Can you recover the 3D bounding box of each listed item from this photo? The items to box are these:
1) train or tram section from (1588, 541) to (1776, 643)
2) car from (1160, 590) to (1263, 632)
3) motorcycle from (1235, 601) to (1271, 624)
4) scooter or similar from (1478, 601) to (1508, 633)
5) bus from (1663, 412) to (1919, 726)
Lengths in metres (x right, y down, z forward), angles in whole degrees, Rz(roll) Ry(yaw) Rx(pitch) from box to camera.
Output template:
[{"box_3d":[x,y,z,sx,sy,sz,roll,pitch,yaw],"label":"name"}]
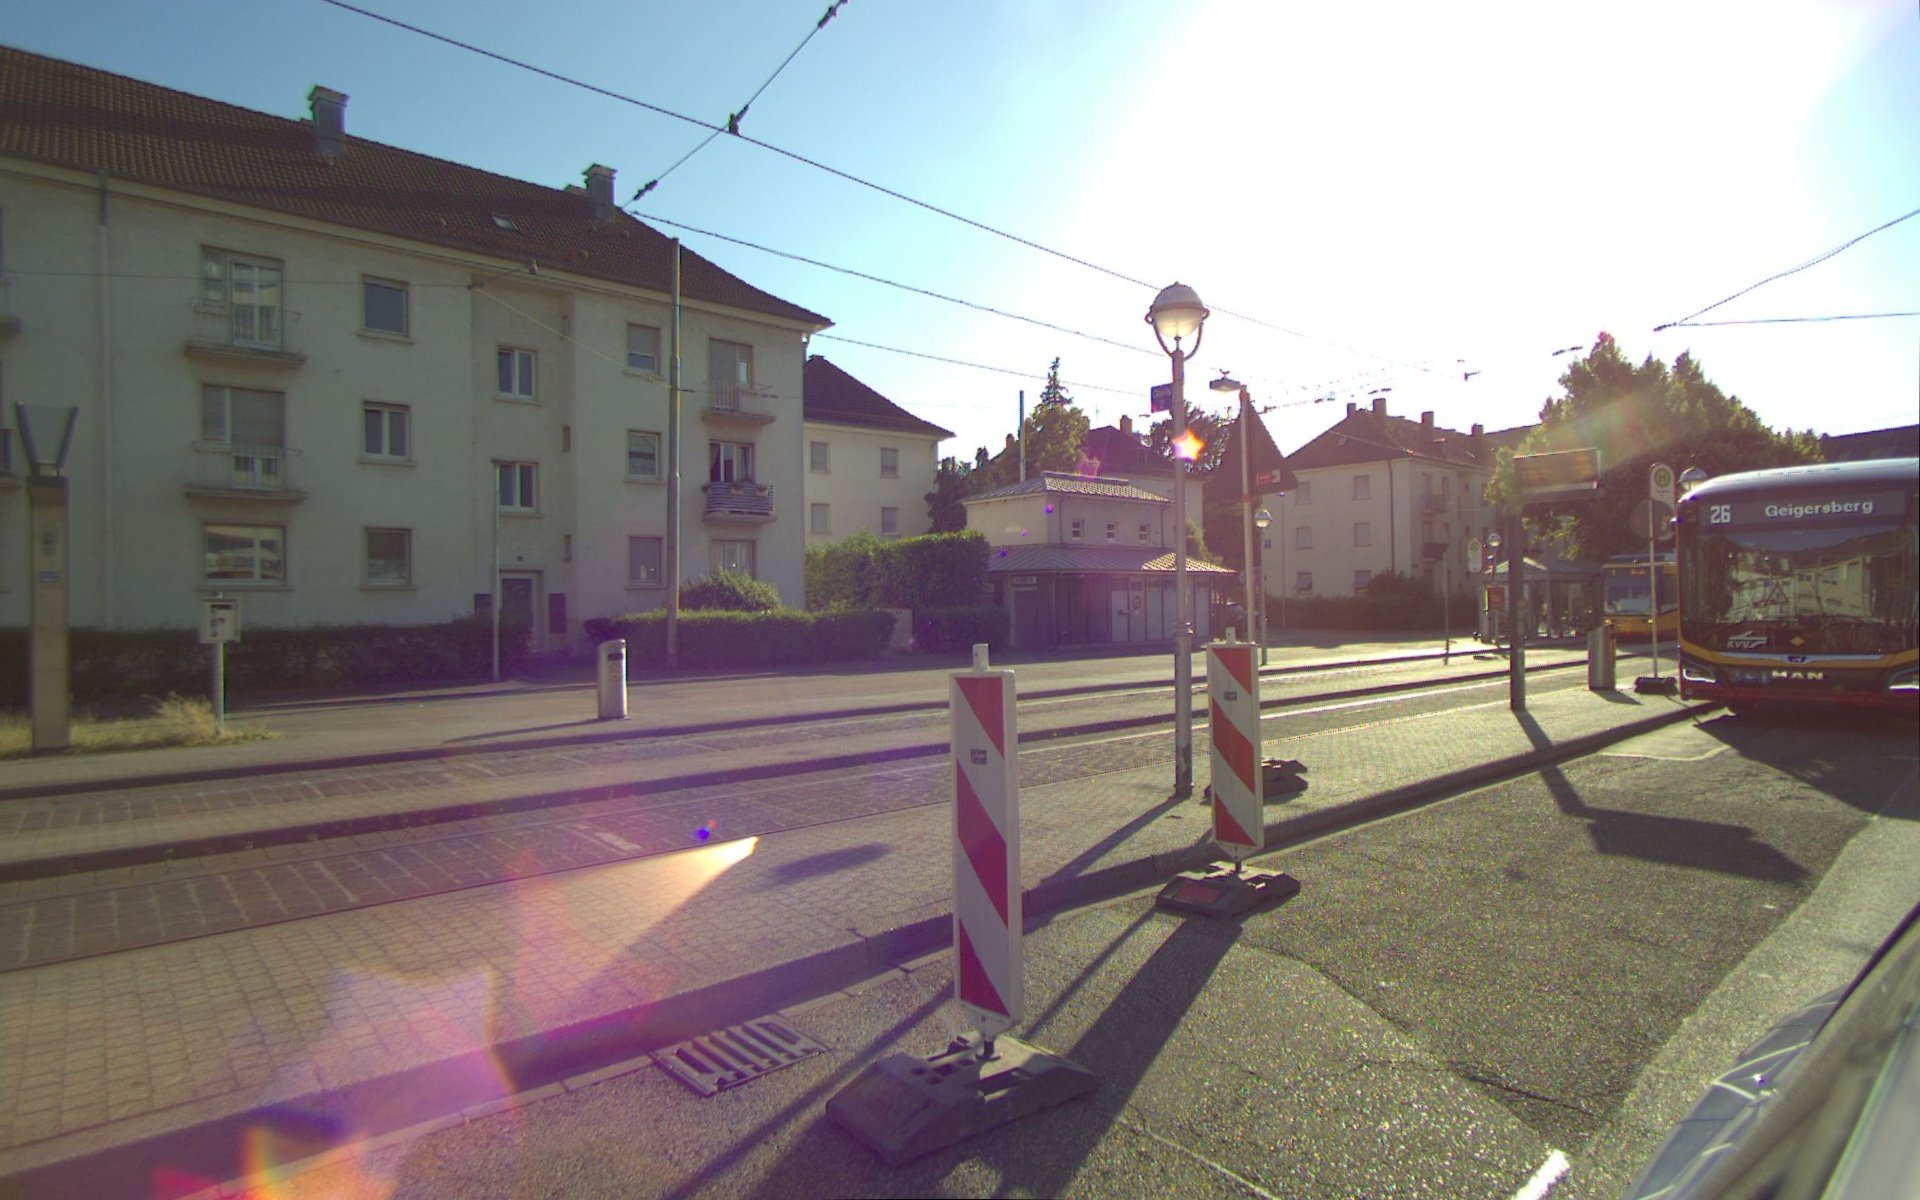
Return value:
[{"box_3d":[30.147,-0.514,41.720,15.698,3.578,2.961,-2,2,-42],"label":"train or tram section"},{"box_3d":[11.599,0.472,46.936,1.963,1.791,4.451,-1,1,-37],"label":"car"},{"box_3d":[15.877,0.674,54.889,0.549,1.177,1.823,0,0,-43],"label":"motorcycle"},{"box_3d":[20.705,0.648,39.284,1.185,1.223,0.468,-1,0,-30],"label":"scooter or similar"},{"box_3d":[14.311,-0.366,15.867,11.810,3.460,2.692,0,0,-42],"label":"bus"}]
